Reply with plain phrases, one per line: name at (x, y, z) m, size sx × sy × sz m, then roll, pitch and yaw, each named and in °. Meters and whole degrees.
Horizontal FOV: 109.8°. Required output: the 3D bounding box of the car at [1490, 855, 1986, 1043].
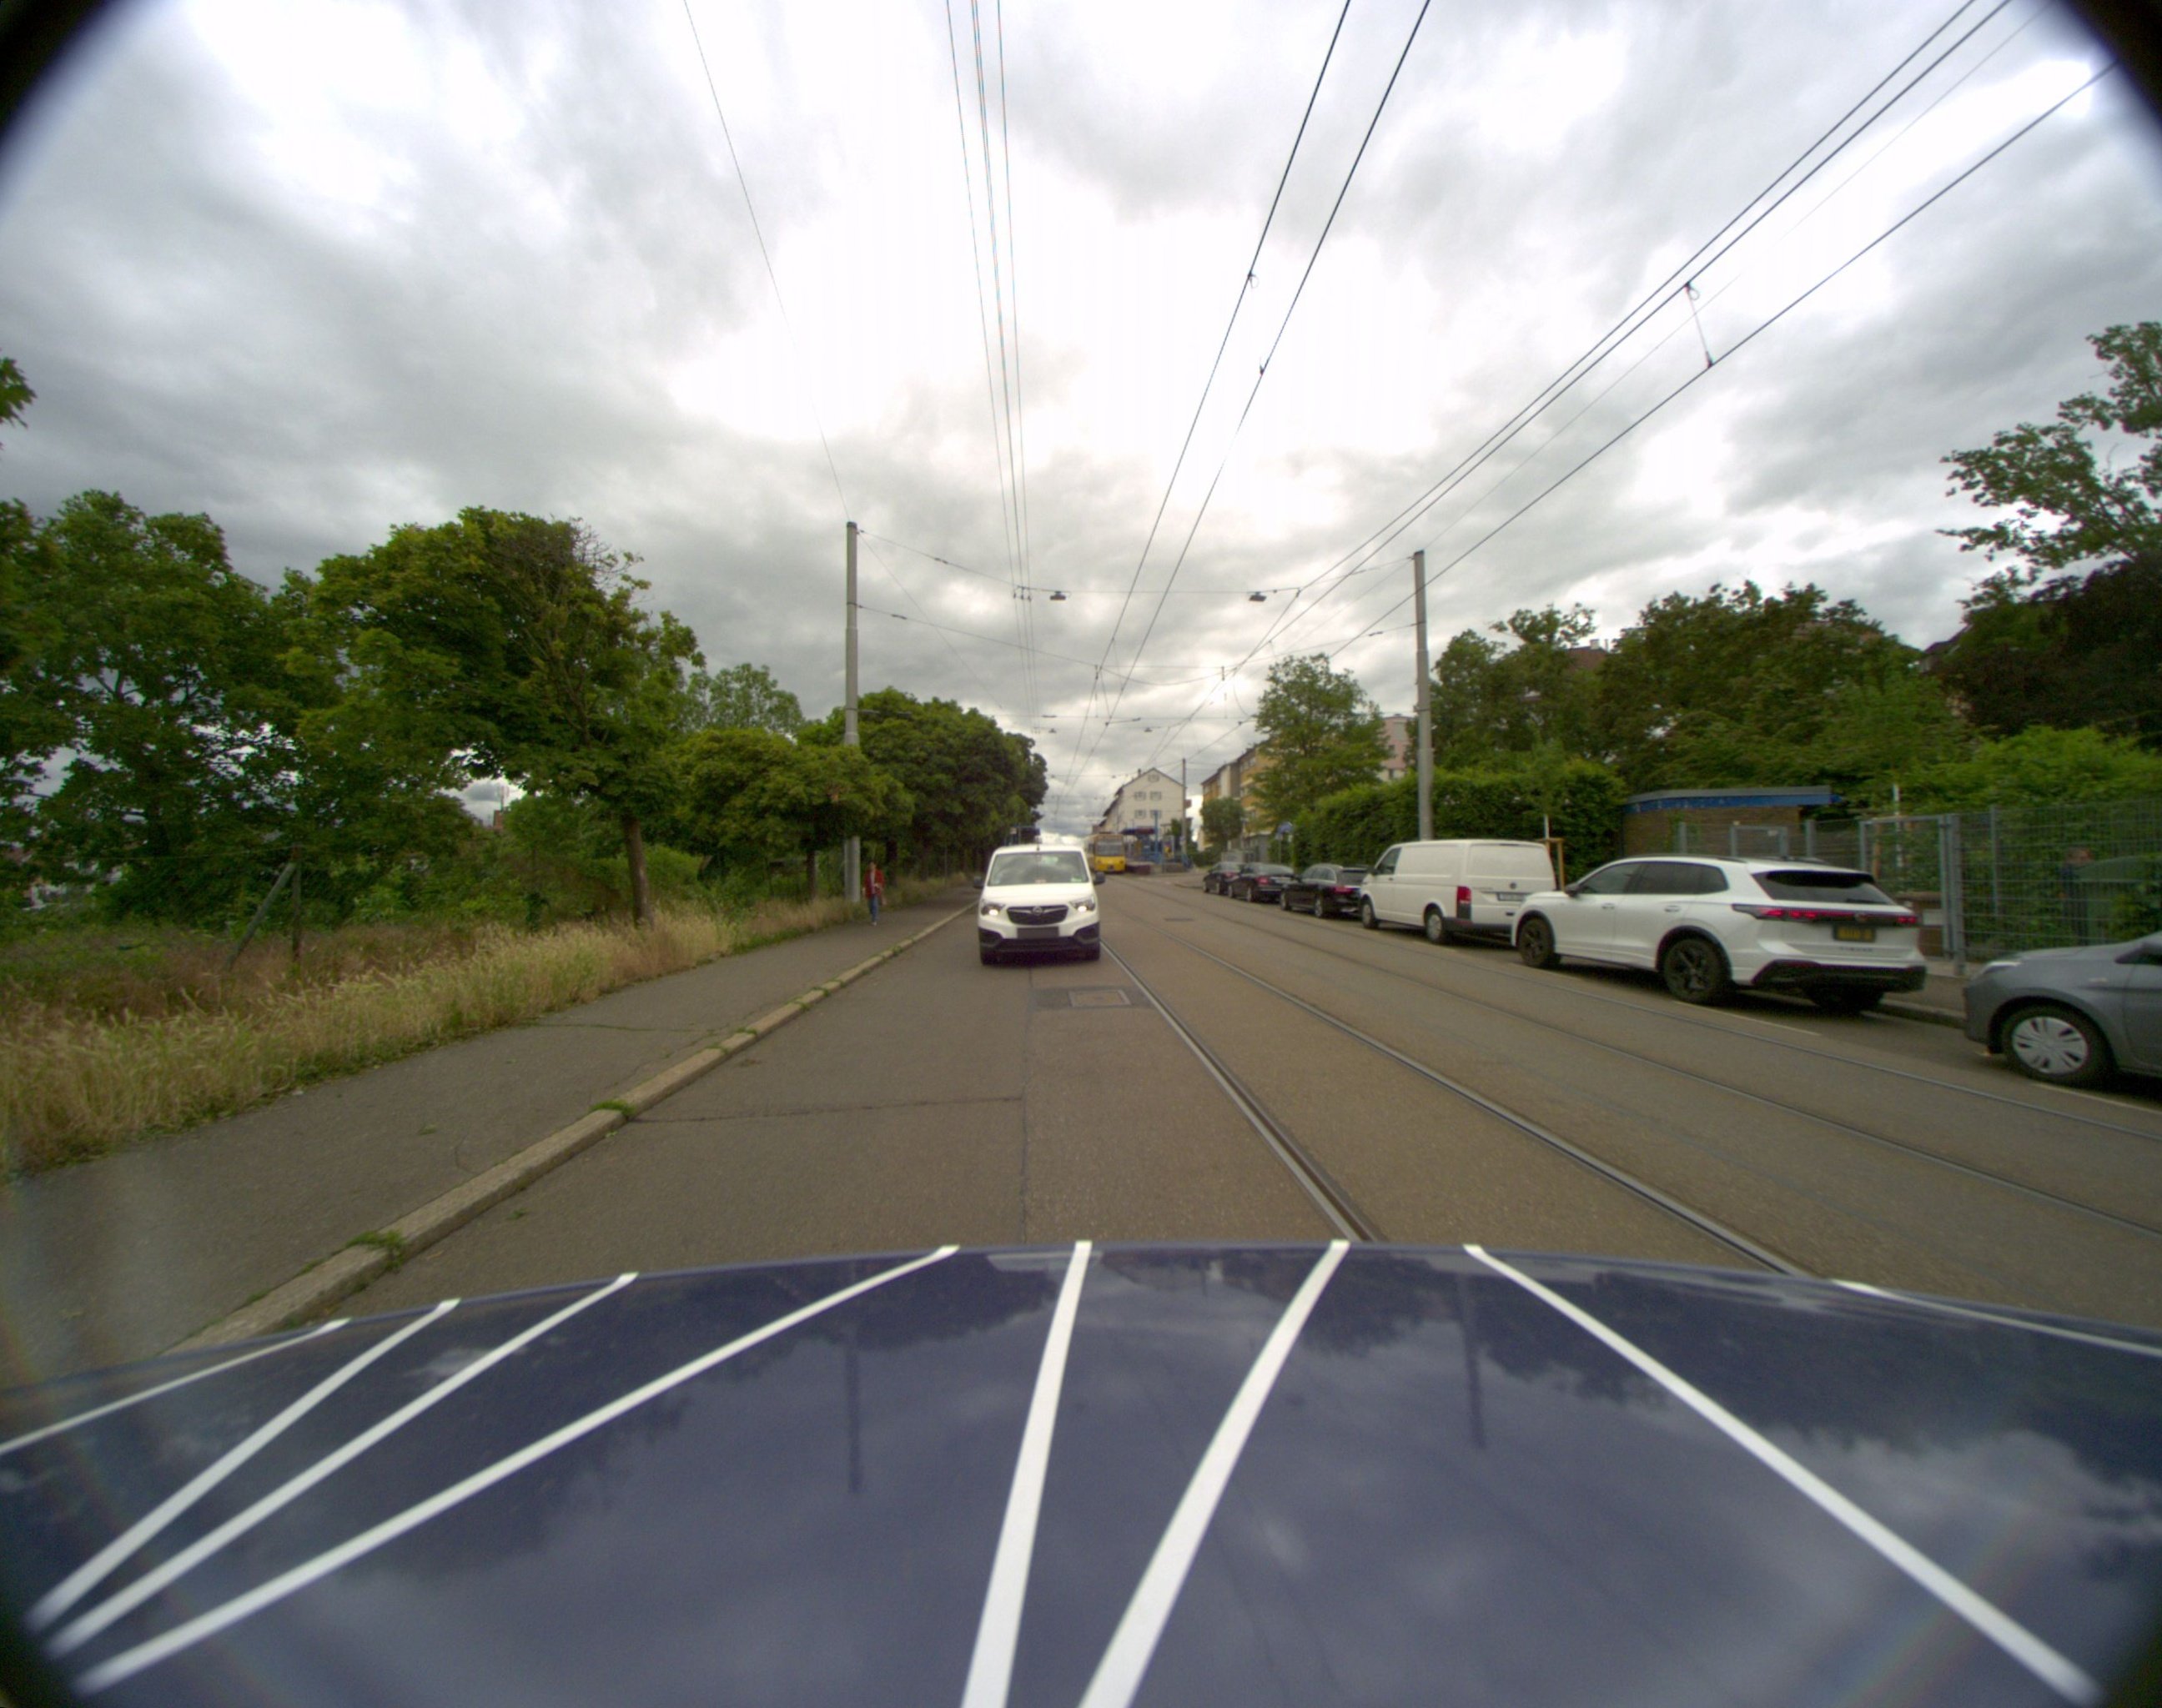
car at (7.425, 0.897, 9.444) m, size 1.974 × 1.677 × 4.631 m, roll 0°, pitch 1°, yaw -3°

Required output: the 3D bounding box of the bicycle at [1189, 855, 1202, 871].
bicycle at (8.759, 0.701, 58.048) m, size 0.713 × 1.174 × 1.487 m, roll 0°, pitch 1°, yaw -2°

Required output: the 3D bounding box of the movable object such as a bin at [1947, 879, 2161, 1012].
movable object such as a bin at (11.558, 1.029, 8.970) m, size 1.279 × 1.365 × 1.202 m, roll -2°, pitch 1°, yaw -1°

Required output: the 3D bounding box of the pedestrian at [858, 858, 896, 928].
pedestrian at (-4.876, 0.920, 18.232) m, size 0.717 × 1.611 × 0.718 m, roll 0°, pitch 1°, yaw -2°

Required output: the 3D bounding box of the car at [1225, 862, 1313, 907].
car at (6.643, 1.029, 27.323) m, size 1.845 × 1.379 × 4.438 m, roll 0°, pitch 1°, yaw -3°

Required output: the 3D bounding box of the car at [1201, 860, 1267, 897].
car at (6.535, 1.000, 32.945) m, size 1.795 × 1.396 × 4.159 m, roll 0°, pitch 1°, yaw -3°

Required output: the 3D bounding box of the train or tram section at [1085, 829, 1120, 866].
train or tram section at (2.198, -0.711, 81.675) m, size 2.831 × 3.615 × 12.125 m, roll 0°, pitch 0°, yaw -3°

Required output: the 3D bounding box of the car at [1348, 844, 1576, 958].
car at (7.319, 0.776, 15.279) m, size 1.974 × 1.902 × 4.732 m, roll 0°, pitch 1°, yaw -3°

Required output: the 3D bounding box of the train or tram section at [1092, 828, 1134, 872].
train or tram section at (2.727, -0.395, 69.496) m, size 2.857 × 3.615 × 12.126 m, roll 0°, pitch 0°, yaw -2°

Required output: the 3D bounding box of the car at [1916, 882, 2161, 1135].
car at (7.611, 1.010, 4.137) m, size 1.743 × 1.500 × 3.867 m, roll 0°, pitch 1°, yaw -3°

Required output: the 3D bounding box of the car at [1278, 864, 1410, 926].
car at (7.024, 1.039, 20.858) m, size 1.845 × 1.379 × 4.516 m, roll 0°, pitch 1°, yaw -3°

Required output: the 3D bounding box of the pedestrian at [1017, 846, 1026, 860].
pedestrian at (-5.531, -0.067, 71.041) m, size 0.781 × 1.307 × 0.656 m, roll 0°, pitch 1°, yaw -2°

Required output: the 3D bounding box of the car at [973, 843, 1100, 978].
car at (-0.647, 0.784, 12.710) m, size 1.730 × 1.850 × 4.420 m, roll 0°, pitch 0°, yaw -1°
